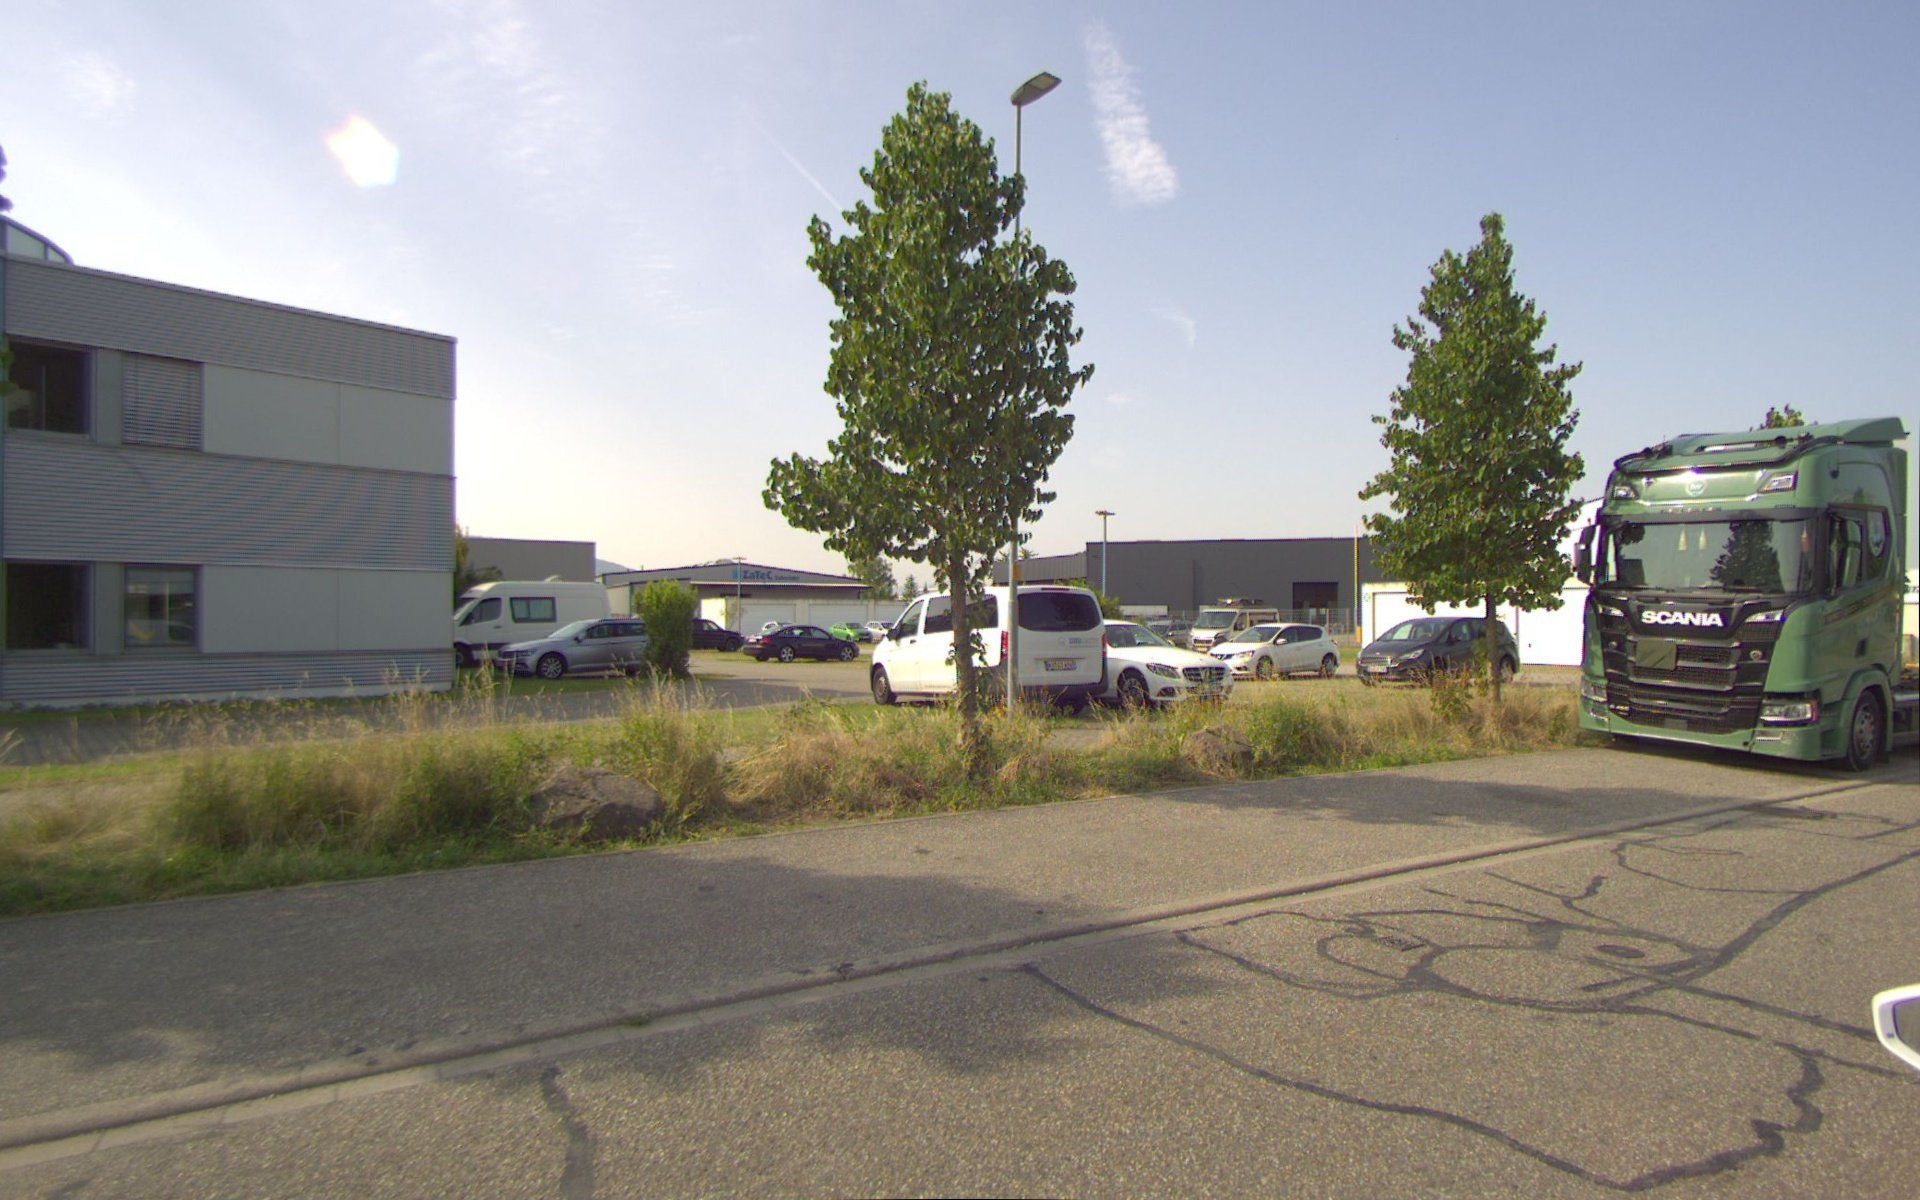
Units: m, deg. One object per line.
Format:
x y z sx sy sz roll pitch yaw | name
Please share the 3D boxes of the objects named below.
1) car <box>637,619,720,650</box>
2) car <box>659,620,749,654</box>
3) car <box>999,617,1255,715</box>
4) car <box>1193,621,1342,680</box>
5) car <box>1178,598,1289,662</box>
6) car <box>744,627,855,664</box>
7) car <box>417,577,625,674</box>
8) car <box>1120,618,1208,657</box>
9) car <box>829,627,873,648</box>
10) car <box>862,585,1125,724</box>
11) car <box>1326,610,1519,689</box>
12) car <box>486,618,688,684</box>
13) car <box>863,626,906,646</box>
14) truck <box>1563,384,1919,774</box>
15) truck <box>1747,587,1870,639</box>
-15.335 1.895 54.751 4.099 1.634 1.834 1 -2 -28 | car
-13.035 1.887 51.170 4.099 1.634 1.834 1 -2 -28 | car
2.673 1.013 17.328 1.974 1.450 4.709 0 -1 -27 | car
8.641 1.361 28.097 4.167 1.536 1.696 1 -2 -32 | car
11.829 1.316 43.253 5.419 2.580 2.032 2 -2 -42 | car
-6.113 1.708 38.544 3.972 1.327 1.646 1 -1 -44 | car
-13.426 0.788 31.109 1.686 2.730 5.721 -1 -2 42 | car
9.210 1.681 45.215 4.121 1.634 1.824 2 -2 -42 | car
-7.370 2.481 67.622 1.578 1.327 3.971 0 -1 -28 | car
0.342 0.768 16.028 2.078 1.860 4.682 0 -1 -30 | car
11.040 1.108 23.879 4.647 1.709 1.983 0 -2 -33 | car
-9.162 1.224 24.977 1.558 1.500 4.498 -1 -2 43 | car
-5.229 2.461 69.227 1.578 1.327 3.971 0 -1 -28 | car
12.198 -0.130 13.616 9.686 3.933 2.444 1 0 -30 | truck
69.969 1.134 83.307 2.581 3.981 12.925 0 -1 15 | truck
